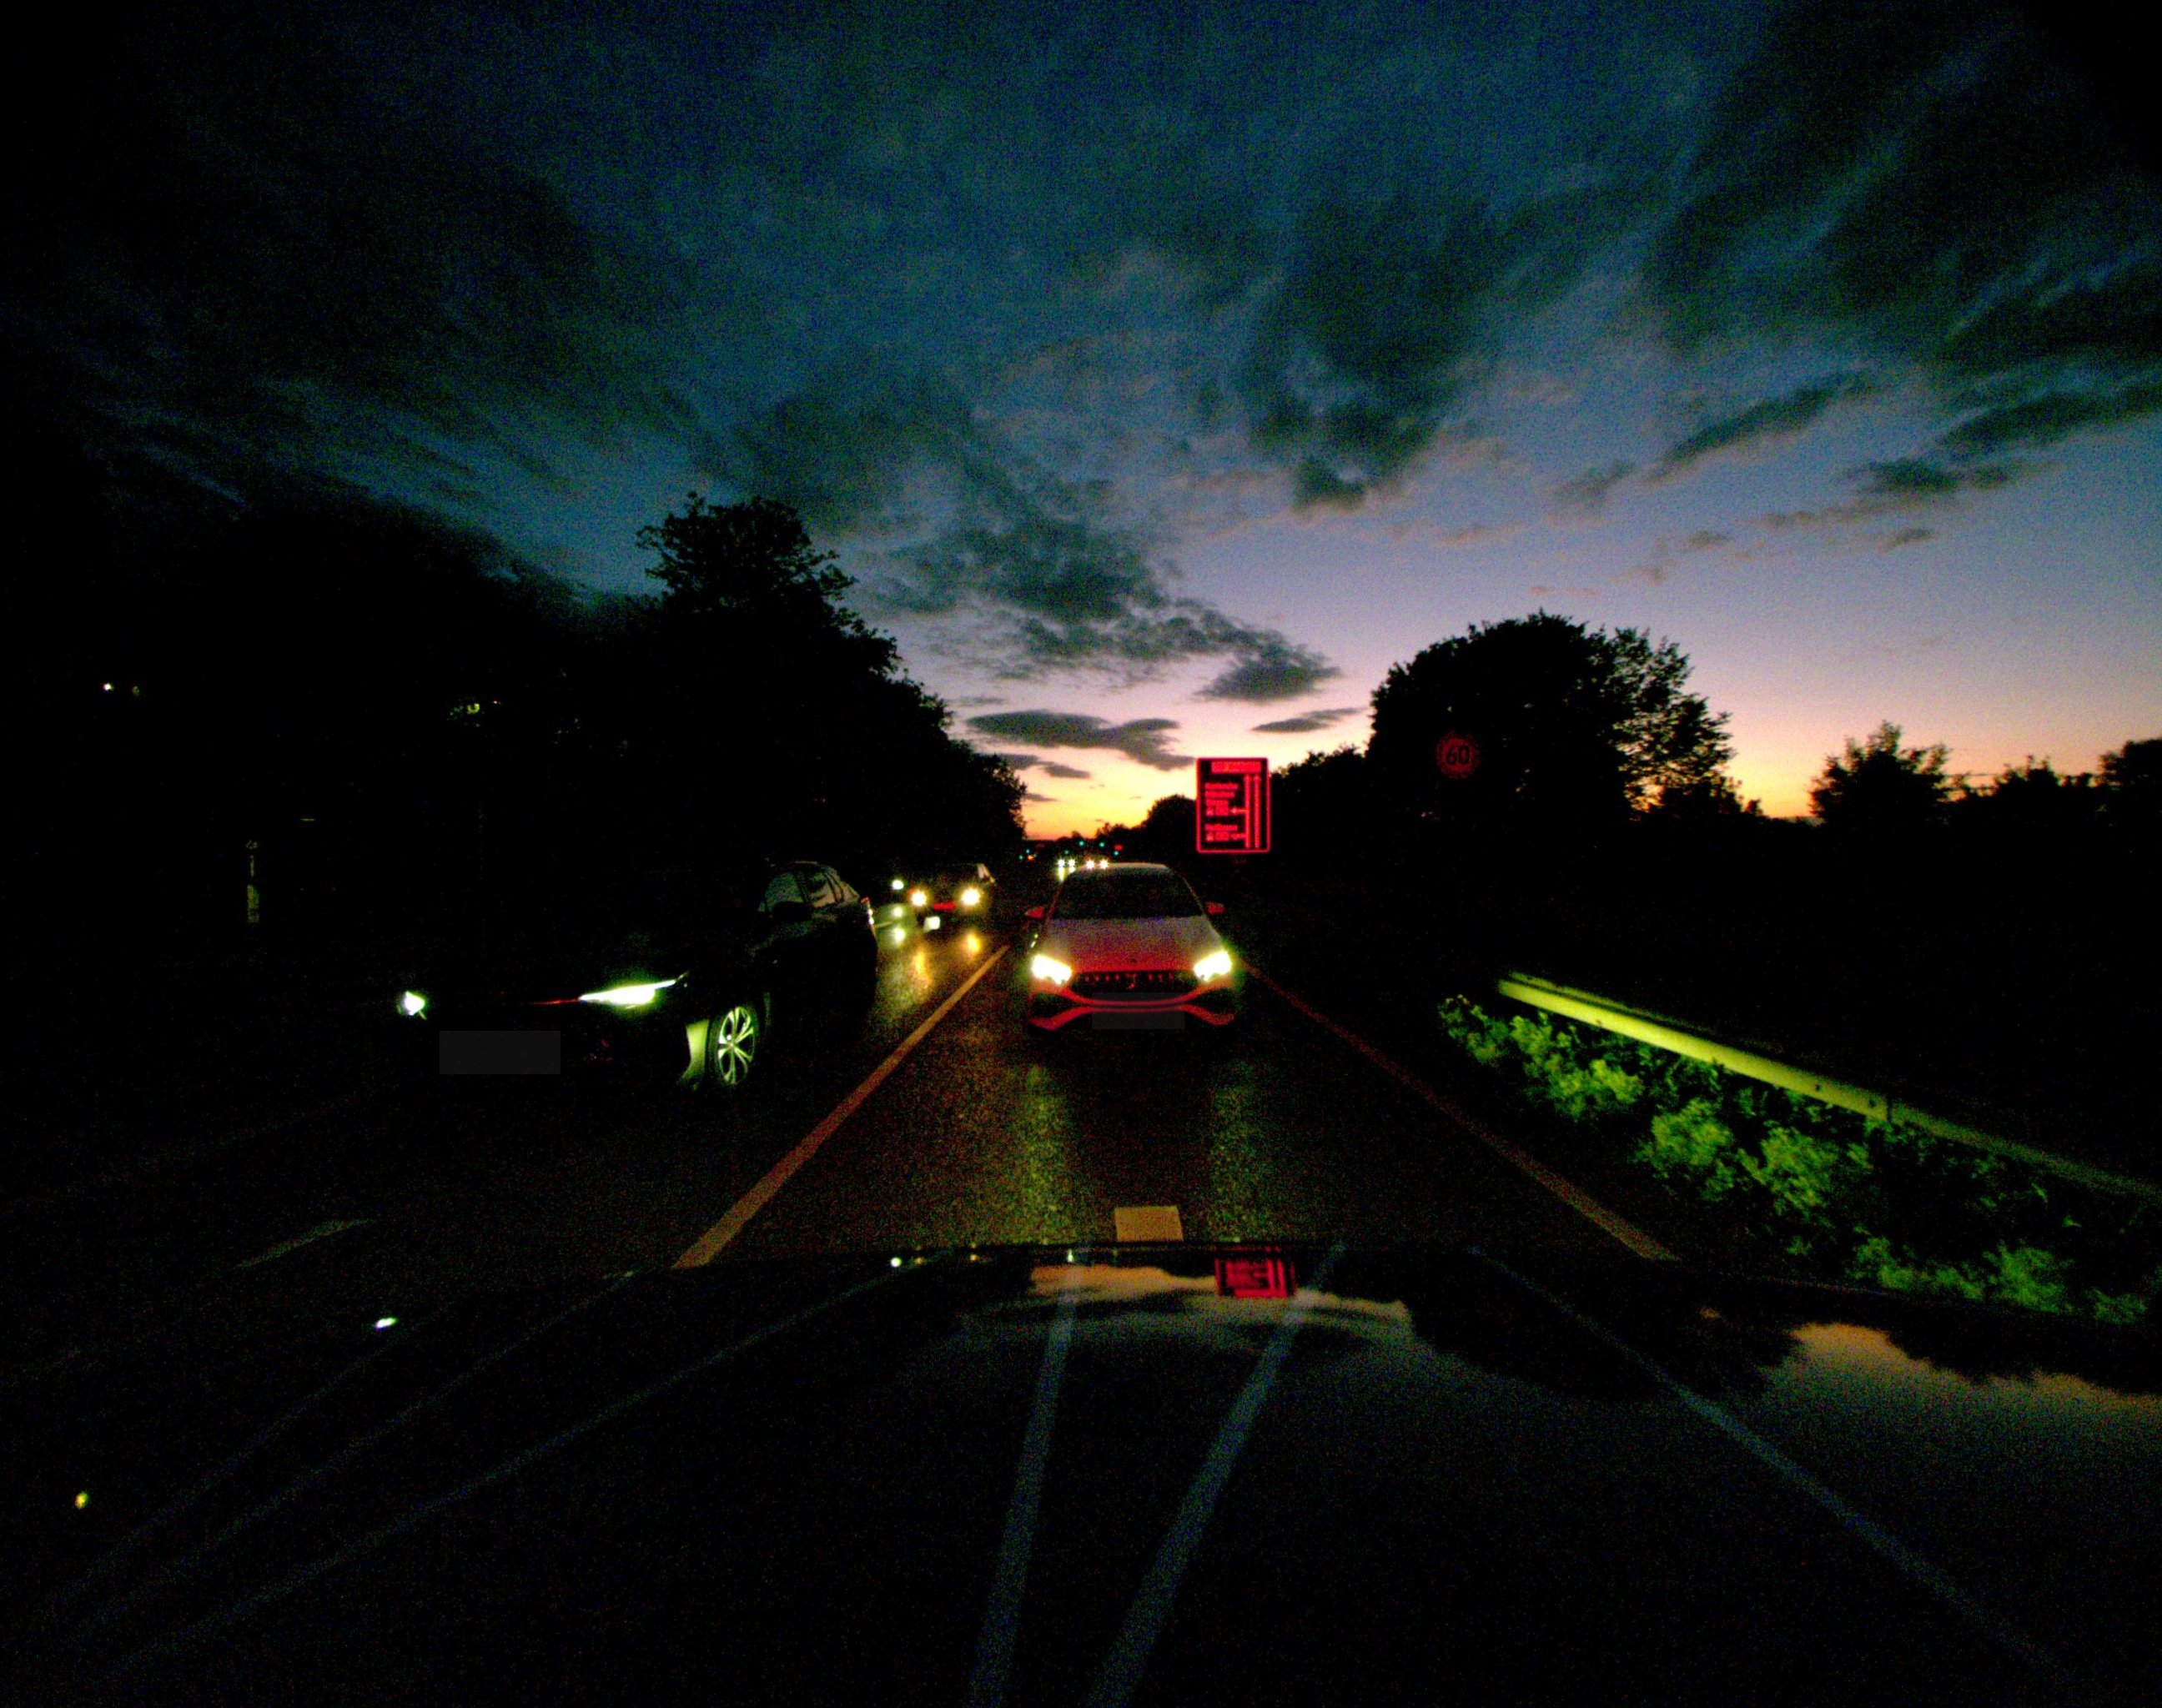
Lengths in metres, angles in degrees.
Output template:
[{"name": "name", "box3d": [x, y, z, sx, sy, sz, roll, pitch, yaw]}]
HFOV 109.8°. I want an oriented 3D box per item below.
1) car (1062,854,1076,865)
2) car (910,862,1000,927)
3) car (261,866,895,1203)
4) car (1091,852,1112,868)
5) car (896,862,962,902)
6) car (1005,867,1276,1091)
[{"name": "car", "box3d": [-1.681, 0.784, 109.951, 1.999, 1.423, 4.501, 0, 0, -1]}, {"name": "car", "box3d": [-3.192, 0.984, 19.991, 1.624, 1.460, 3.871, -2, 0, 1]}, {"name": "car", "box3d": [-3.170, 0.972, 6.272, 1.998, 1.600, 4.711, -2, 0, 1]}, {"name": "car", "box3d": [2.133, 0.633, 80.227, 1.999, 1.602, 4.501, -1, 0, -1]}, {"name": "car", "box3d": [-6.157, 1.089, 31.327, 1.924, 1.423, 4.702, -1, 0, -2]}, {"name": "car", "box3d": [0.427, 0.937, 7.707, 1.901, 1.472, 4.514, -2, 0, 0]}]
